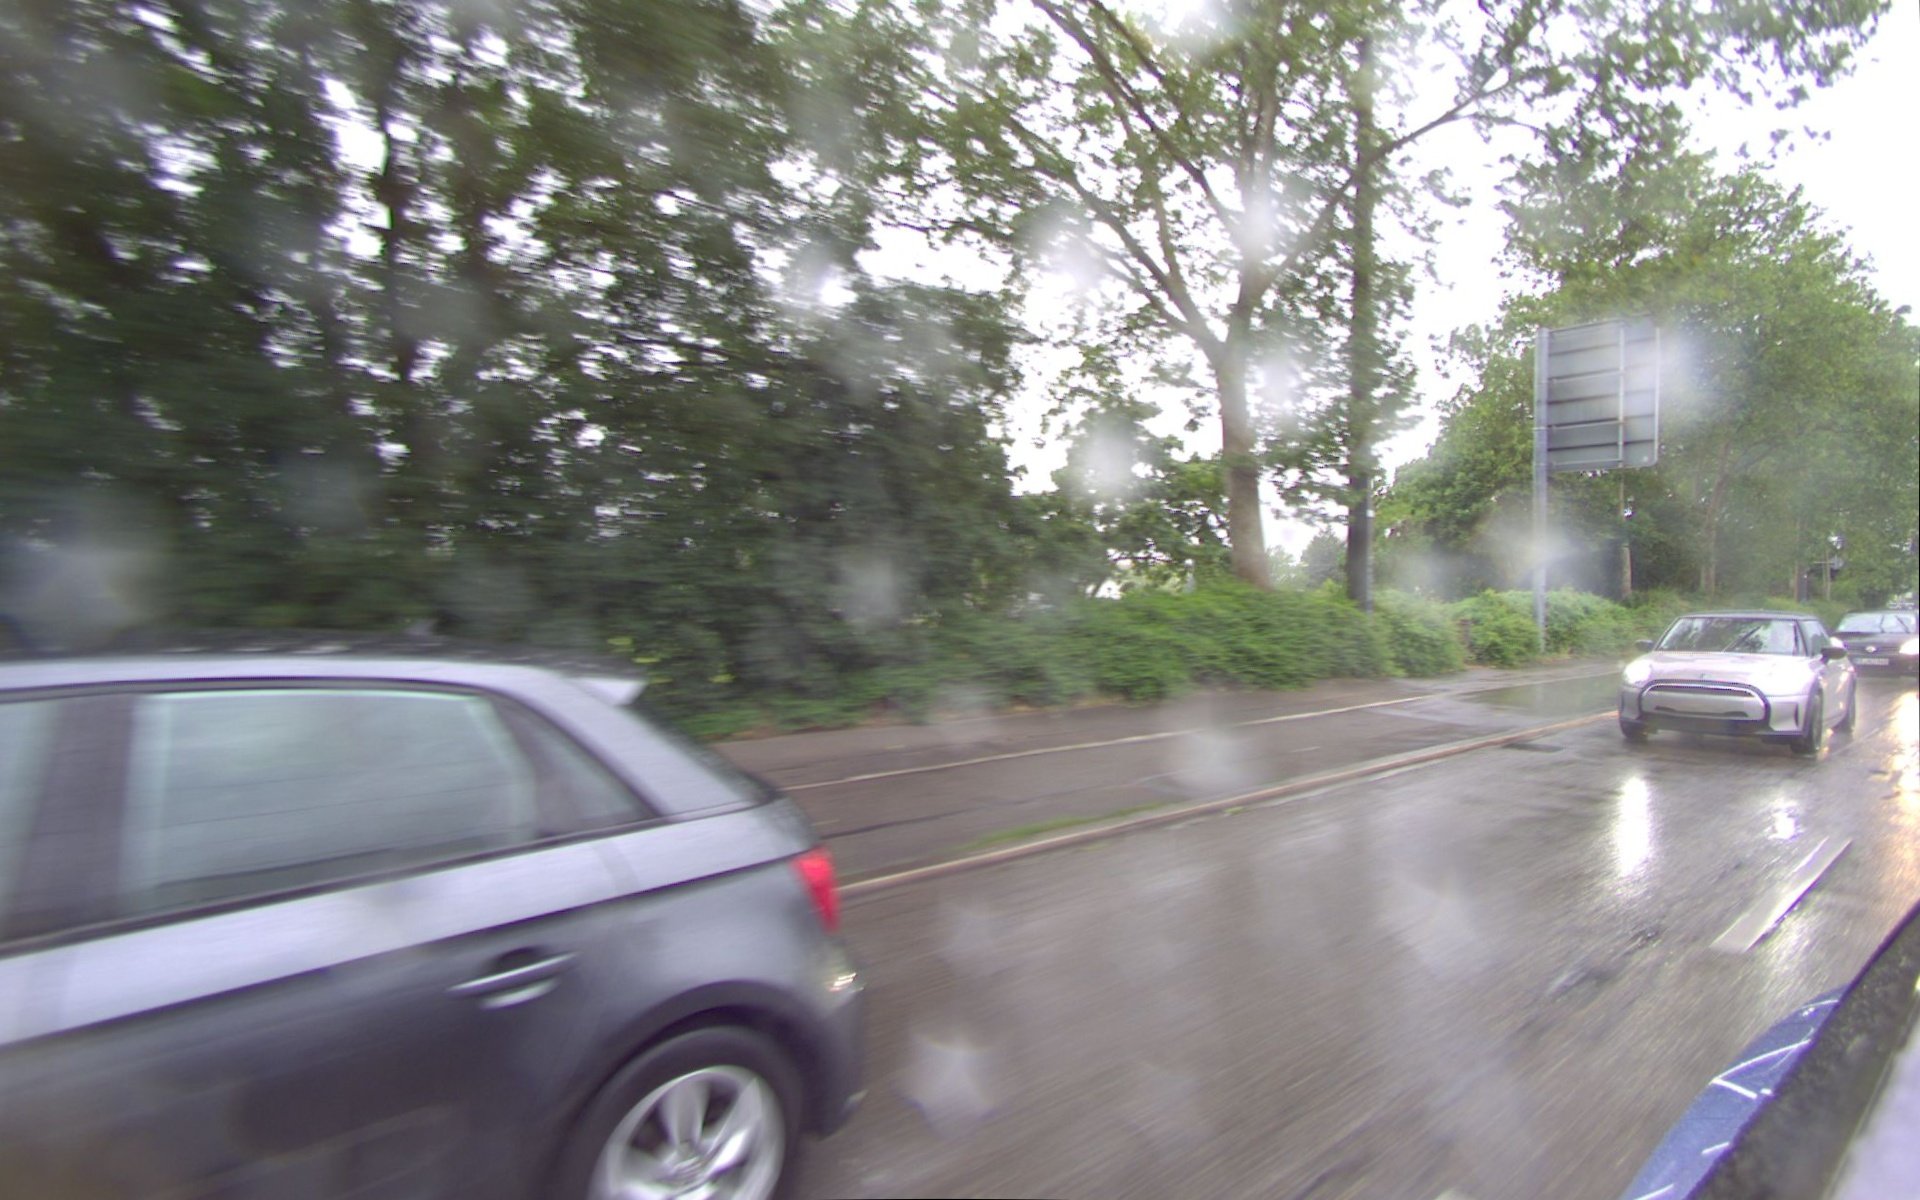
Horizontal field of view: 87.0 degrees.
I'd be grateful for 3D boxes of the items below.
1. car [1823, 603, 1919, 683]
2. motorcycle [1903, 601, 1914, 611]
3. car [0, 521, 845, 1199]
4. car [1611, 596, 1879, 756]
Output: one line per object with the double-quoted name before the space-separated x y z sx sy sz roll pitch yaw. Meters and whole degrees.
"car" 18.899 0.836 20.438 4.022 1.480 1.773 1 -2 -43
"motorcycle" 115.417 0.739 123.141 1.418 1.234 0.635 1 1 -30
"car" -2.358 0.664 1.668 3.923 1.548 1.970 1 -1 -43
"car" 8.895 0.695 11.360 3.789 1.431 1.793 -1 1 -43
